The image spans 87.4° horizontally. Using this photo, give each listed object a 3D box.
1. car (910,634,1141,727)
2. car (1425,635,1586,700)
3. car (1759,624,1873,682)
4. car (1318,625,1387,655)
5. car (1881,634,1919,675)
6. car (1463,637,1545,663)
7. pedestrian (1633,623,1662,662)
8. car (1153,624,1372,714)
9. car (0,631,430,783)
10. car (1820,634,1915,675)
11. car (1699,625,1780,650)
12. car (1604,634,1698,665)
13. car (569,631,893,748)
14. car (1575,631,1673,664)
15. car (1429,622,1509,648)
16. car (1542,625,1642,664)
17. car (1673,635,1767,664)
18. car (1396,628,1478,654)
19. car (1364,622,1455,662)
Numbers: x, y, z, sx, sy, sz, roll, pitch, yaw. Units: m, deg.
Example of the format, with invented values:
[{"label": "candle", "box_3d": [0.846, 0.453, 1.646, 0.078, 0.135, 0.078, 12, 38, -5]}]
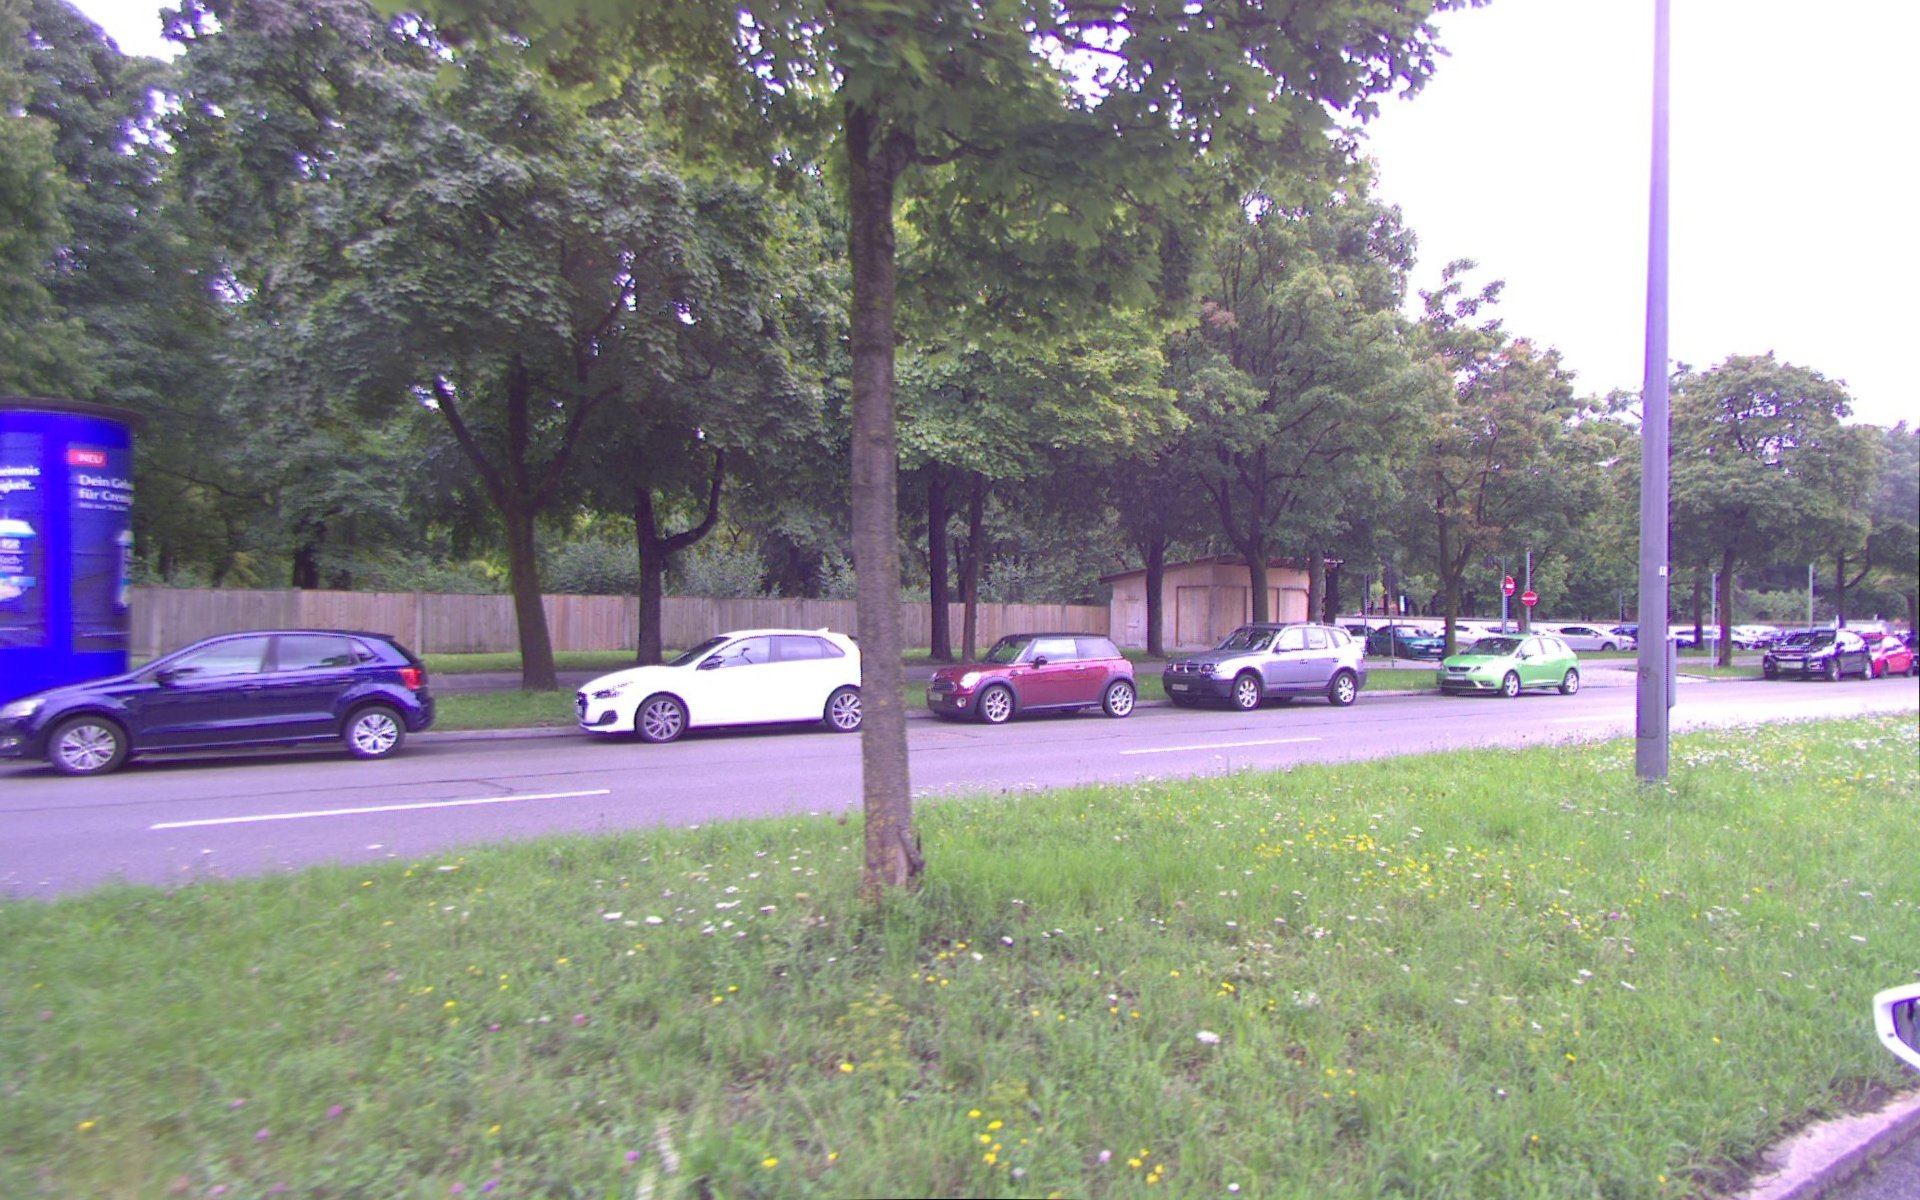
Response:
[{"label": "car", "box_3d": [1.116, 1.287, 16.855, 3.586, 1.415, 1.584, 1, -2, -29]}, {"label": "car", "box_3d": [13.076, 1.569, 24.047, 3.830, 1.428, 1.542, 1, -2, -28]}, {"label": "car", "box_3d": [27.943, 1.697, 32.788, 3.835, 1.764, 1.708, 2, 0, -31]}, {"label": "car", "box_3d": [18.669, 1.871, 47.974, 1.639, 1.217, 4.421, 2, 0, 2]}, {"label": "car", "box_3d": [36.524, 2.047, 37.854, 3.835, 1.465, 1.658, 2, 0, -31]}, {"label": "car", "box_3d": [36.351, 3.320, 67.238, 1.652, 1.465, 4.670, 2, 0, -29]}, {"label": "pedestrian", "box_3d": [28.320, 1.735, 41.374, 0.712, 1.554, 0.724, 1, 0, -30]}, {"label": "car", "box_3d": [6.010, 1.304, 19.821, 4.321, 1.607, 1.682, 1, -2, -31]}, {"label": "car", "box_3d": [-8.092, 1.067, 11.088, 3.855, 1.436, 1.604, 1, -3, -33]}, {"label": "car", "box_3d": [32.074, 1.919, 35.495, 3.342, 1.329, 1.582, 2, 0, -31]}, {"label": "car", "box_3d": [50.882, 2.414, 65.605, 1.656, 1.465, 3.841, 2, 0, -35]}, {"label": "car", "box_3d": [37.284, 2.636, 54.239, 1.656, 1.465, 3.841, 2, 0, -35]}, {"label": "car", "box_3d": [-3.199, 1.180, 14.305, 4.229, 1.463, 1.600, 1, -2, -31]}, {"label": "car", "box_3d": [33.954, 2.396, 51.410, 1.656, 1.465, 3.841, 2, 0, -35]}, {"label": "car", "box_3d": [32.990, 2.232, 65.181, 1.652, 1.496, 4.486, 2, 0, -29]}, {"label": "car", "box_3d": [31.629, 2.191, 50.322, 1.656, 1.740, 3.893, 2, 0, -35]}, {"label": "car", "box_3d": [42.495, 2.743, 56.230, 1.656, 1.465, 3.841, 2, 0, -35]}, {"label": "car", "box_3d": [30.474, 2.610, 64.283, 1.652, 1.465, 4.672, 2, 0, -28]}, {"label": "car", "box_3d": [18.852, 1.718, 42.350, 1.922, 1.465, 4.421, 2, 0, 2]}]
